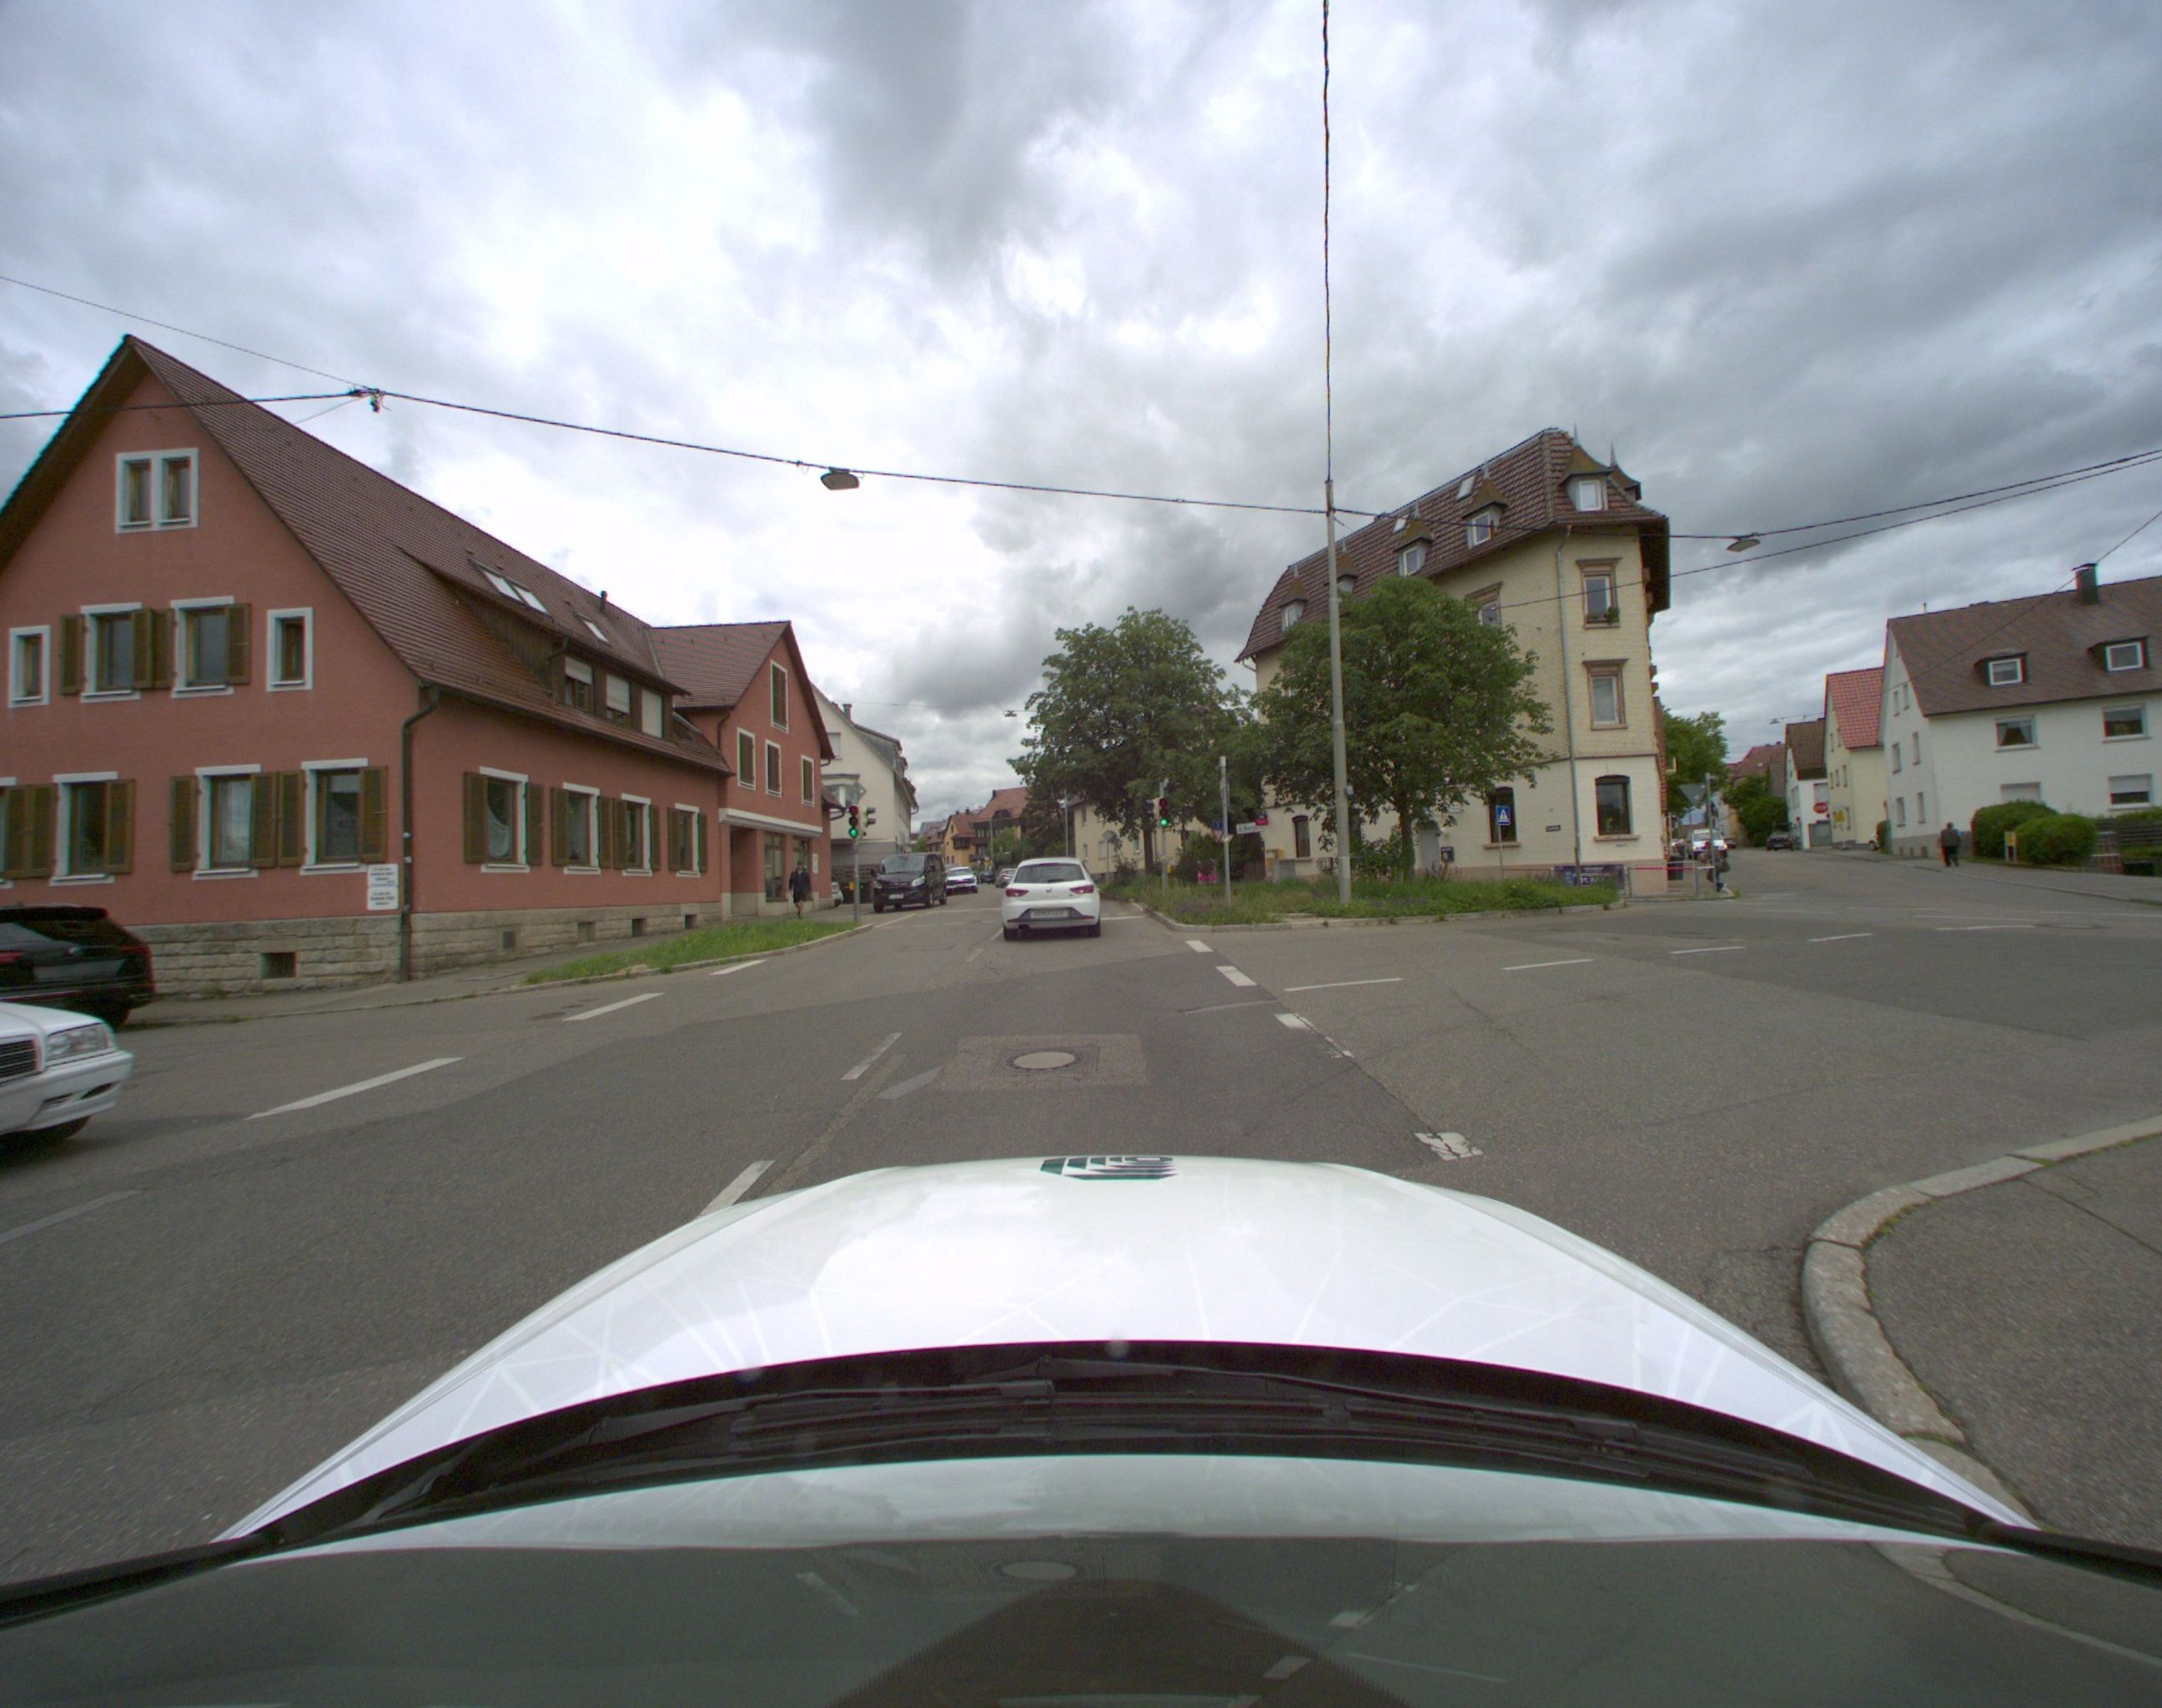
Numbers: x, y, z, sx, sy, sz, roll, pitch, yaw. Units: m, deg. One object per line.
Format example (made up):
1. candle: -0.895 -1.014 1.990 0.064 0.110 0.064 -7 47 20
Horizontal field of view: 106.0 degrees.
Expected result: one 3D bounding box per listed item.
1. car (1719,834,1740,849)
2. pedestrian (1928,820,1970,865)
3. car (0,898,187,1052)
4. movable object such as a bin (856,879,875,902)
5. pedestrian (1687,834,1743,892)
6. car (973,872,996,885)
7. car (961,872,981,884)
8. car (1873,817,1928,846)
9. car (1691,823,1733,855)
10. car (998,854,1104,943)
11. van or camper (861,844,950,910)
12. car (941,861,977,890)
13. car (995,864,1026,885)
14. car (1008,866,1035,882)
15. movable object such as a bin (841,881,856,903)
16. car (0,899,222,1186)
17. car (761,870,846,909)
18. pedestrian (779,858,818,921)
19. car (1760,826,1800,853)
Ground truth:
1. car: 88.644 -1.729 111.397 1.974 2.014 4.025 0 0 34
2. pedestrian: 34.373 -0.439 32.258 0.902 1.739 0.750 0 -1 26
3. car: -13.583 1.512 9.752 4.024 1.590 1.807 -5 -1 7
4. movable object such as a bin: -9.978 1.690 37.656 0.664 1.018 0.794 -3 0 -4
5. pedestrian: 19.297 0.260 24.804 1.015 1.733 0.860 0 0 0
6. car: -11.138 2.831 93.626 1.764 1.452 3.973 -1 -2 -19
7. car: -14.132 3.043 104.132 1.764 1.452 3.973 -1 -2 -19
8. car: 49.235 -1.334 48.996 1.800 1.600 3.912 -1 -1 37
9. car: 42.072 -0.946 54.402 1.974 2.014 4.025 0 0 34
10. car: -0.506 0.768 15.782 1.753 1.452 3.999 -2 0 0
11. van or camper: -6.183 0.849 29.254 2.068 2.006 4.854 -4 -2 -1
12. car: -7.332 1.294 48.950 1.997 1.633 4.843 -1 -1 -8
13. car: -5.415 1.569 62.258 1.761 1.452 3.981 -1 -1 -14
14. car: -5.488 1.841 74.767 1.762 1.452 3.978 1 -2 -15
15. movable object such as a bin: -10.701 1.736 37.524 0.532 0.971 0.635 0 0 -1
16. car: -7.961 1.167 4.514 4.529 1.445 2.004 -4 0 6
17. car: -11.383 1.439 33.560 2.819 1.475 1.743 -2 -1 2
18. pedestrian: -8.356 1.031 24.112 0.798 1.785 0.892 -1 0 -1
19. car: 56.088 -1.130 65.386 1.974 2.014 4.025 0 0 34
